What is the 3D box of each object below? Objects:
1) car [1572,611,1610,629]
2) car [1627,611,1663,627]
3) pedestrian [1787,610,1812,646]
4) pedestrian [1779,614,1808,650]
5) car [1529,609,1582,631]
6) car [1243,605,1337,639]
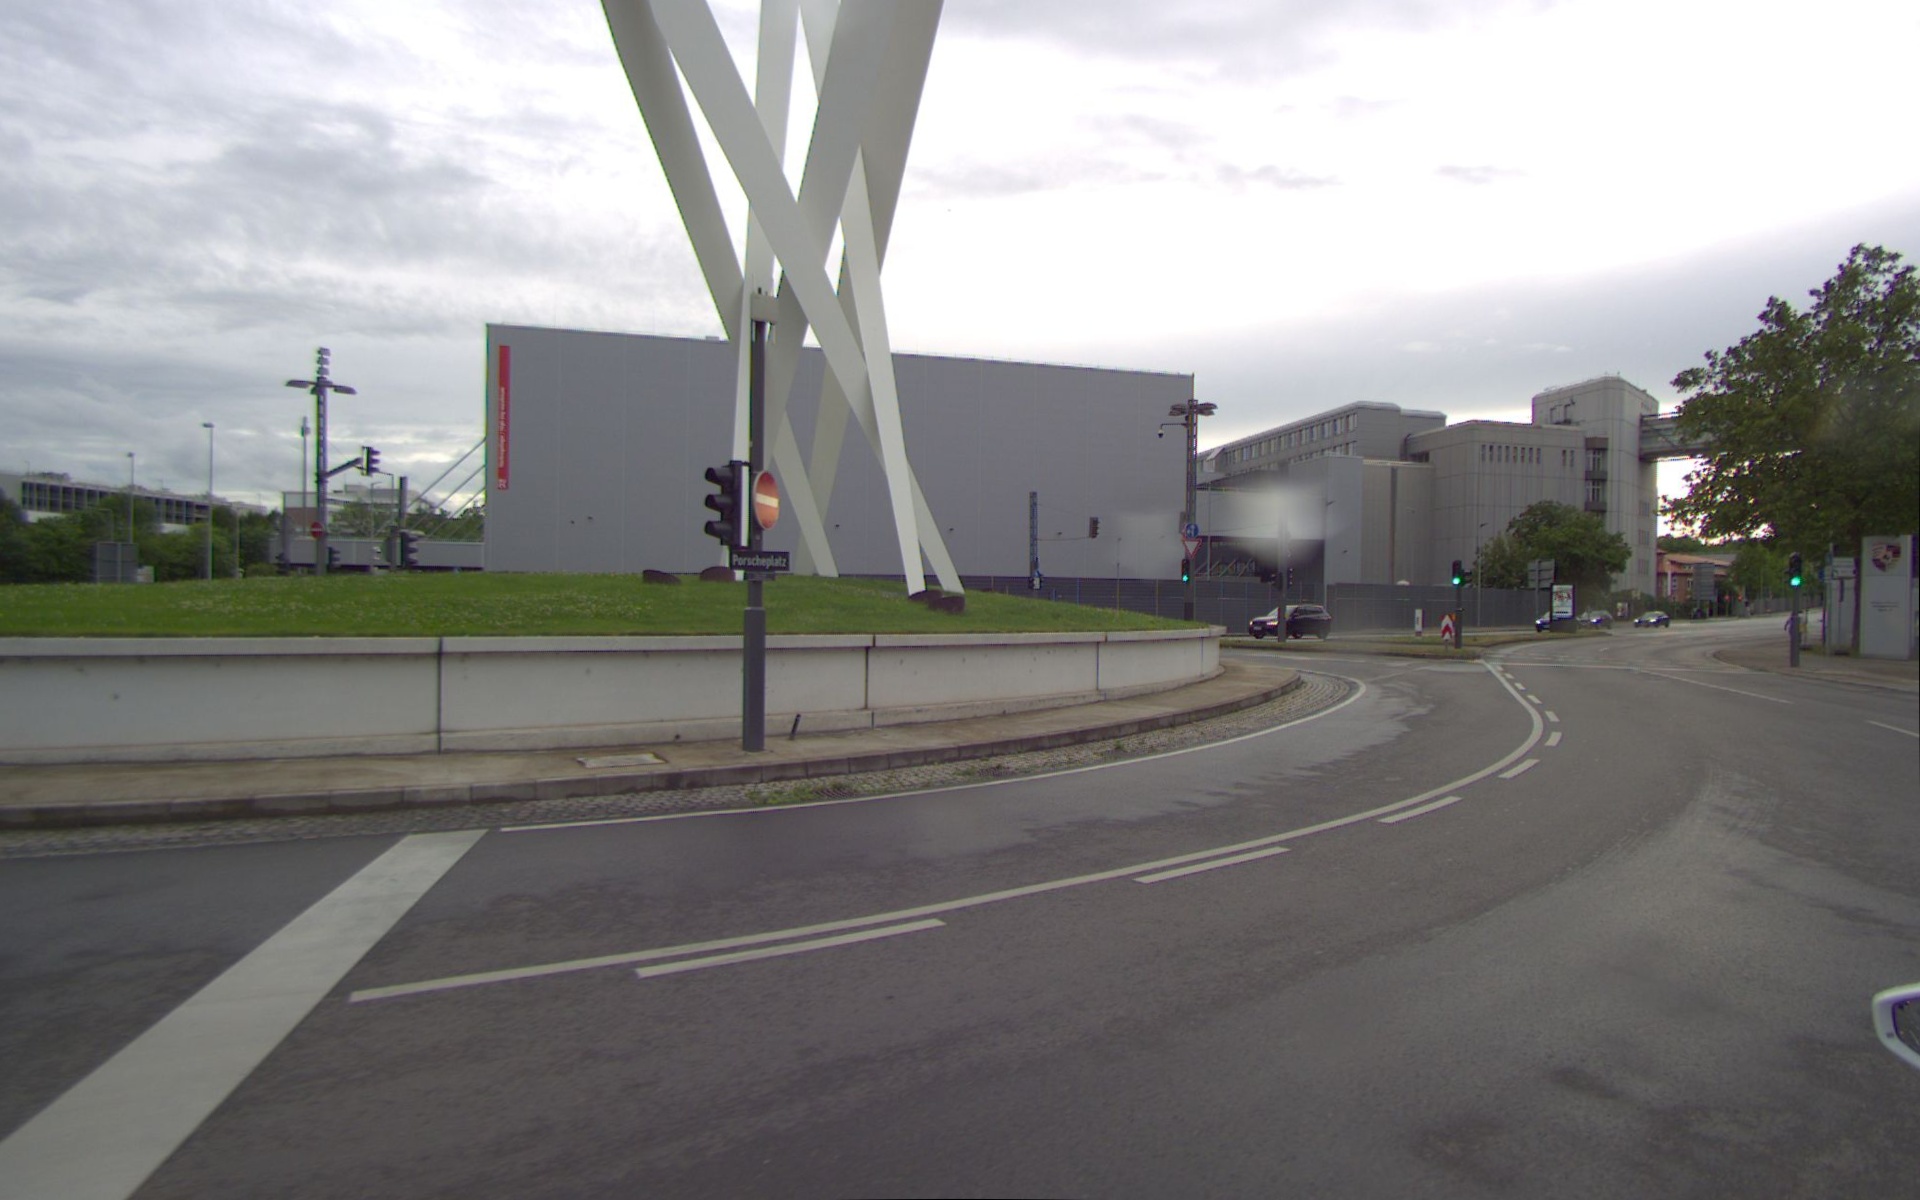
[{"bbox_3d":[52.922,1.651,84.202,4.531,1.473,1.765,1,-1,-45],"label":"car"},{"bbox_3d":[63.174,1.742,92.644,4.514,1.403,1.766,1,-2,-43],"label":"car"},{"bbox_3d":[37.635,1.253,45.028,0.833,1.613,0.703,0,0,-38],"label":"pedestrian"},{"bbox_3d":[36.237,1.391,43.666,0.834,1.541,0.825,0,0,-39],"label":"pedestrian"},{"bbox_3d":[40.925,1.365,68.980,4.359,1.459,1.768,1,0,-40],"label":"car"},{"bbox_3d":[16.144,1.067,49.146,4.509,1.609,1.775,1,0,-28],"label":"car"}]
